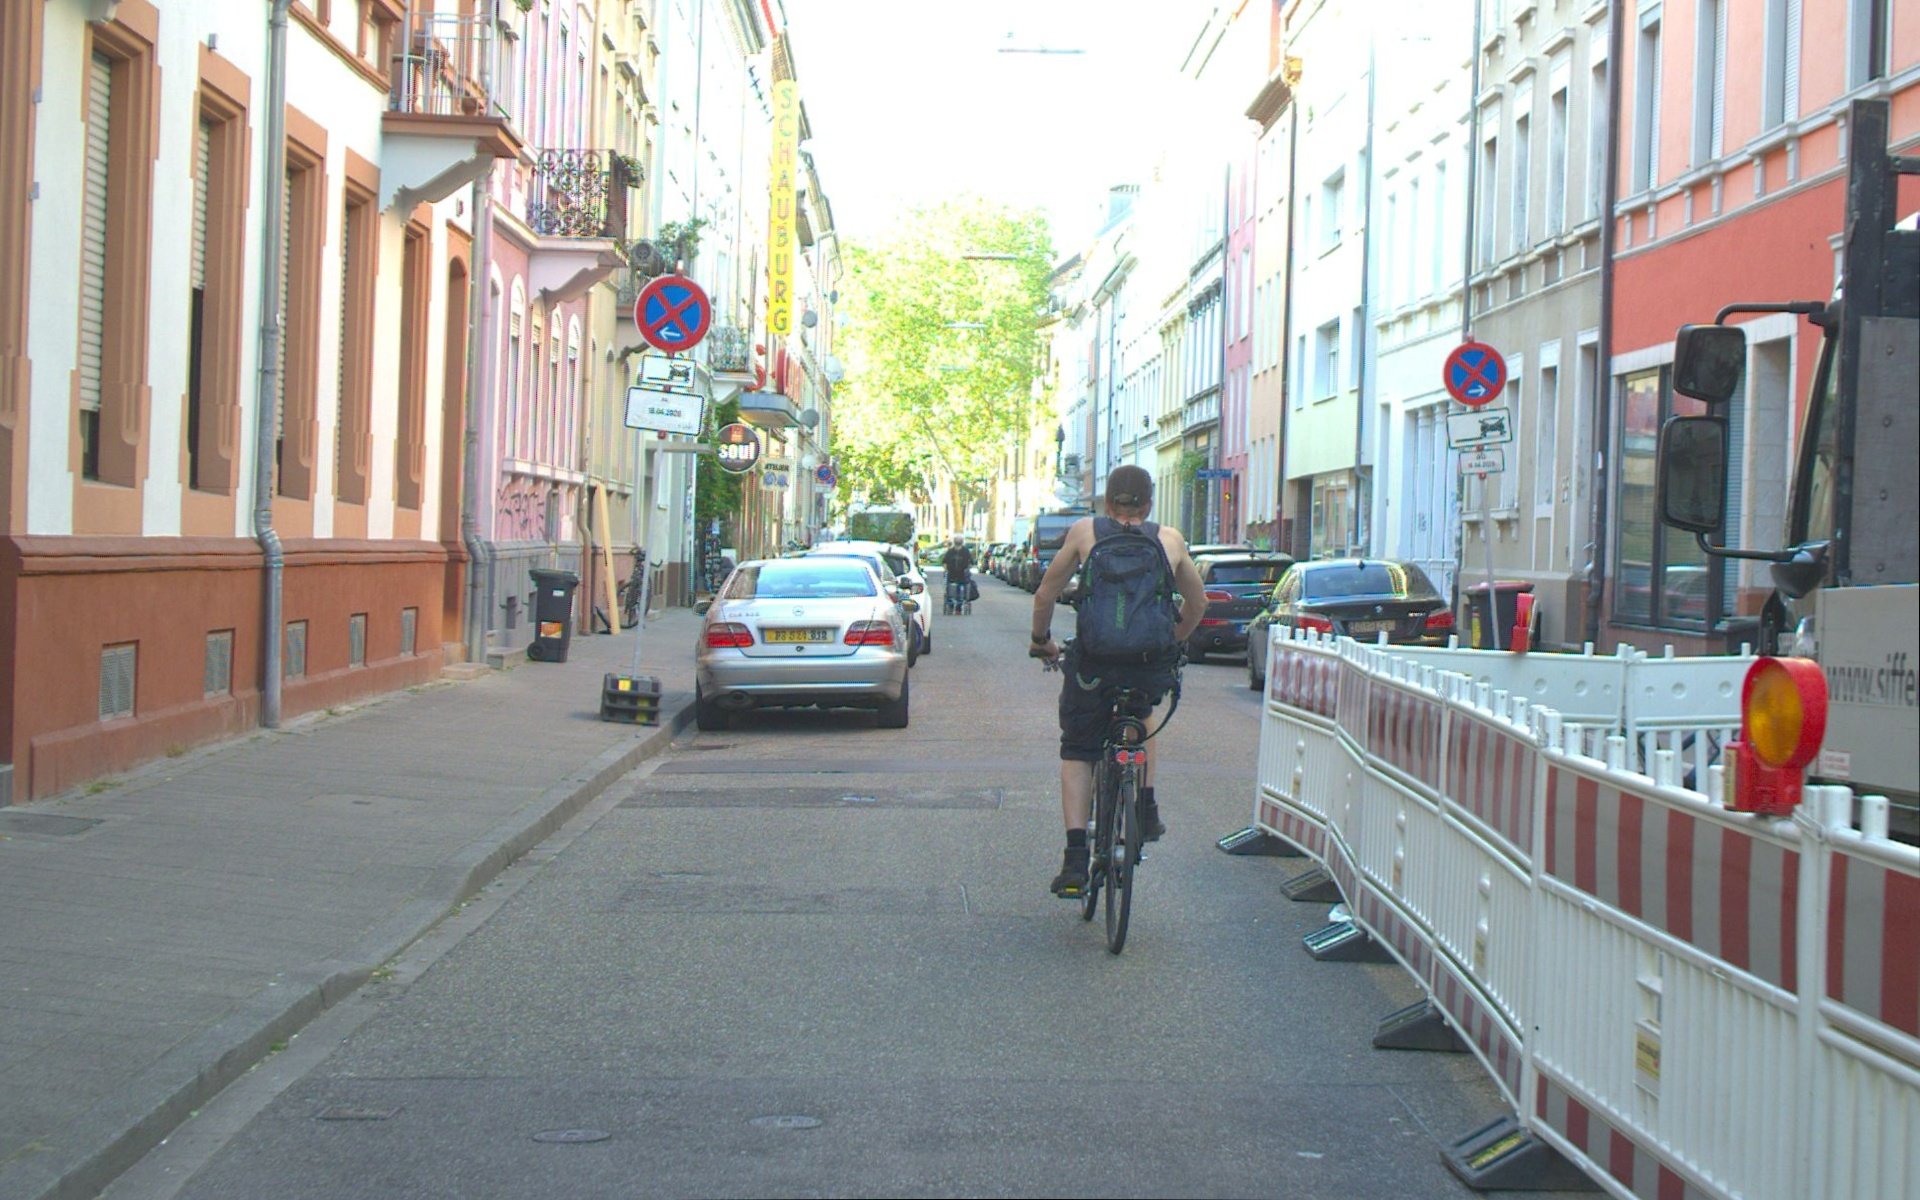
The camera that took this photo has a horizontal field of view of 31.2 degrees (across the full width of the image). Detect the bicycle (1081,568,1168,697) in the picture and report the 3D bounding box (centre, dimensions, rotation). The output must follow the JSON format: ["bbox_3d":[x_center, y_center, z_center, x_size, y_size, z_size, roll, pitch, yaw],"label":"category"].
[{"bbox_3d":[1.664,0.310,35.028,0.702,1.203,2.342,1,2,-1],"label":"bicycle"}]

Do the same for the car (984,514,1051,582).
[{"bbox_3d":[2.163,-1.968,130.552,2.307,2.529,6.770,0,1,-1],"label":"car"}]

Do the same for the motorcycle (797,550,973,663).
[{"bbox_3d":[-0.945,0.073,43.431,2.146,1.354,0.540,-1,2,-18],"label":"motorcycle"}]

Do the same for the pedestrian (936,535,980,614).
[{"bbox_3d":[-0.043,-0.521,70.093,0.770,1.573,0.900,3,0,-2],"label":"pedestrian"}]

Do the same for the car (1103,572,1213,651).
[{"bbox_3d":[3.608,0.184,63.197,1.710,1.378,4.000,0,1,-1],"label":"car"}]

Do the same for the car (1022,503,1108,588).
[{"bbox_3d":[3.177,-1.651,105.125,2.307,2.529,6.770,0,1,-1],"label":"car"}]

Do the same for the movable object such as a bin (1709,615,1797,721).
[{"bbox_3d":[6.882,0.584,29.848,0.597,0.903,0.579,-1,0,-2],"label":"movable object such as a bin"}]

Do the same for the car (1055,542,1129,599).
[{"bbox_3d":[3.420,-0.772,89.626,1.710,1.442,4.000,0,1,-1],"label":"car"}]

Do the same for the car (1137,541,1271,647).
[{"bbox_3d":[3.705,-0.115,52.745,1.710,1.551,4.000,0,1,-1],"label":"car"}]

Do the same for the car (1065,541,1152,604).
[{"bbox_3d":[3.343,-0.622,77.971,1.710,1.389,4.000,0,1,-1],"label":"car"}]

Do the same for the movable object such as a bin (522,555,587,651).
[{"bbox_3d":[-4.089,0.027,34.707,0.543,0.941,0.487,3,0,0],"label":"movable object such as a bin"}]

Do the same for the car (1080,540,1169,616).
[{"bbox_3d":[3.445,-0.476,72.640,1.620,1.545,4.000,0,1,-1],"label":"car"}]

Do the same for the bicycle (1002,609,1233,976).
[{"bbox_3d":[0.555,0.665,12.979,0.702,1.204,2.342,2,1,-1],"label":"bicycle"}]

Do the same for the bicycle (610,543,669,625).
[{"bbox_3d":[-4.459,-0.234,47.887,0.592,1.085,2.079,3,1,-1],"label":"bicycle"}]

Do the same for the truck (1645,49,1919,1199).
[{"bbox_3d":[3.661,0.108,7.475,2.661,2.804,7.393,3,1,0],"label":"truck"}]

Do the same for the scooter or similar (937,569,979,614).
[{"bbox_3d":[-0.043,-0.171,69.670,0.770,0.870,0.771,3,1,-2],"label":"scooter or similar"}]

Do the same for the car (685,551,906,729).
[{"bbox_3d":[-1.318,0.284,29.017,1.710,1.378,4.506,0,1,-1],"label":"car"}]

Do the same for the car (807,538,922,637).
[{"bbox_3d":[-1.429,-0.204,52.151,1.672,1.437,3.768,0,1,-1],"label":"car"}]

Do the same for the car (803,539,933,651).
[{"bbox_3d":[-1.222,-0.083,46.371,1.672,1.437,4.165,0,1,-1],"label":"car"}]

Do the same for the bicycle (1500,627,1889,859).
[{"bbox_3d":[3.877,0.751,18.199,1.849,1.106,0.644,3,0,-7],"label":"bicycle"}]

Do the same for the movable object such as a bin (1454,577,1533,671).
[{"bbox_3d":[6.208,0.275,40.004,0.736,1.071,0.677,-1,1,-7],"label":"movable object such as a bin"}]

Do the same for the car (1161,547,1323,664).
[{"bbox_3d":[3.795,0.049,46.861,1.817,1.516,4.000,0,1,-1],"label":"car"}]

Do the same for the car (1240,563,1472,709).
[{"bbox_3d":[4.093,0.328,36.216,1.817,1.433,4.791,0,1,-1],"label":"car"}]

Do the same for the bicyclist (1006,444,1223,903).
[{"bbox_3d":[0.562,0.258,12.909,0.702,1.627,1.090,2,0,-1],"label":"bicyclist"}]

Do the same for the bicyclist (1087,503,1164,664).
[{"bbox_3d":[1.680,-0.179,34.971,0.702,1.599,0.813,1,2,-1],"label":"bicyclist"}]

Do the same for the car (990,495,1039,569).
[{"bbox_3d":[2.777,-3.473,177.928,2.307,3.755,6.770,0,1,-1],"label":"car"}]

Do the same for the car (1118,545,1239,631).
[{"bbox_3d":[3.633,-0.218,57.804,1.710,1.378,4.000,0,1,-1],"label":"car"}]

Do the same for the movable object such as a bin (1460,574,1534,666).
[{"bbox_3d":[6.403,0.239,41.045,0.807,1.071,0.677,-1,1,4],"label":"movable object such as a bin"}]

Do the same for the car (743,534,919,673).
[{"bbox_3d":[-1.430,-0.004,39.444,1.710,1.378,4.356,2,2,1],"label":"car"}]

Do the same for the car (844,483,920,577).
[{"bbox_3d":[-2.140,-1.905,93.689,1.909,2.488,4.166,1,1,-3],"label":"car"}]
